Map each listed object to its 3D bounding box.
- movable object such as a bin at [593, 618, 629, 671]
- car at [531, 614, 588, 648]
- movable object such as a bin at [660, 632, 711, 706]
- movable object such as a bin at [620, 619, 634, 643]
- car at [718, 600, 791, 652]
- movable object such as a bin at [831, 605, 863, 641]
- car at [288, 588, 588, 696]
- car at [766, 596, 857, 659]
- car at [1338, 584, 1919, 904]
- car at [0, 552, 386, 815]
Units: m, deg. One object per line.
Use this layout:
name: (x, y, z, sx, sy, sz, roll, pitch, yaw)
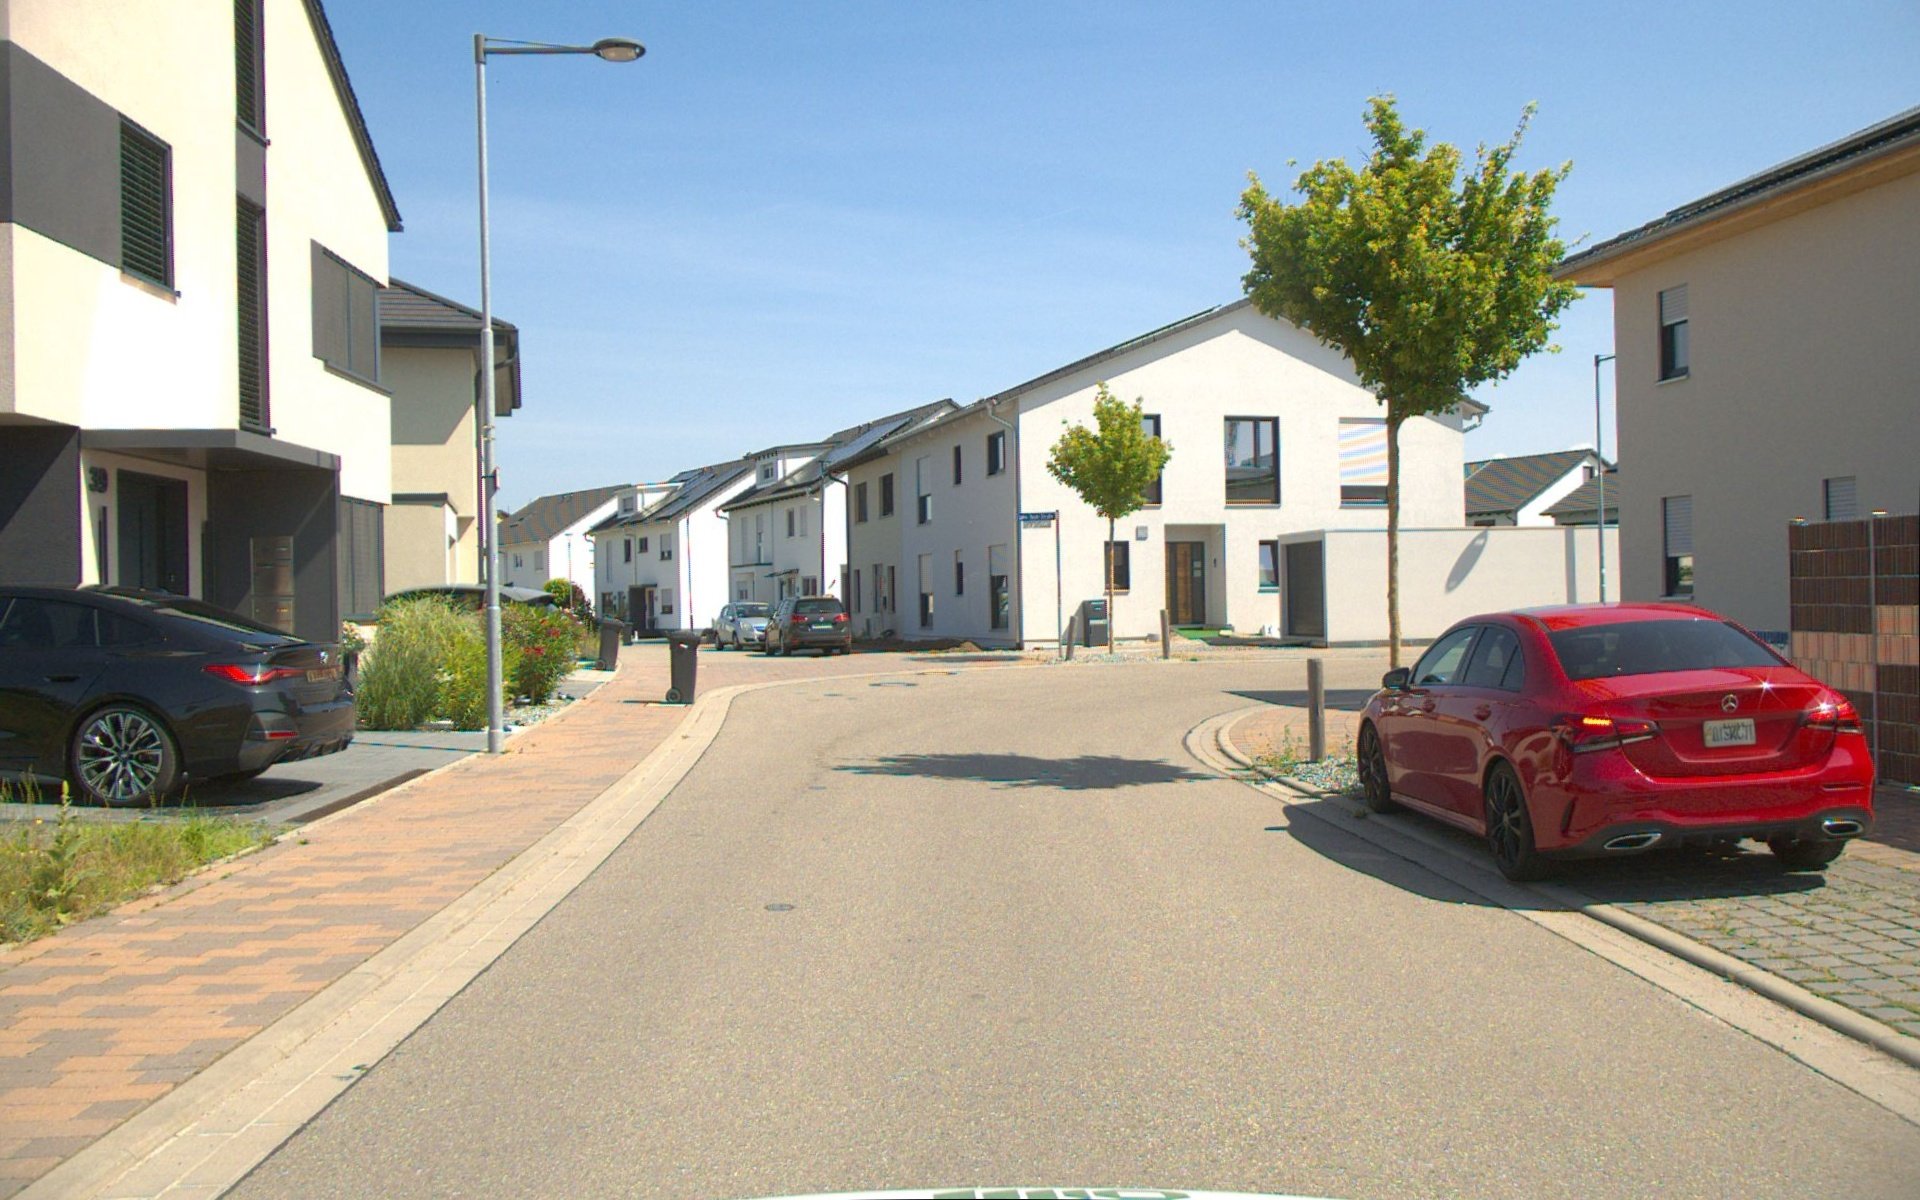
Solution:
movable object such as a bin: (-6.403, 0.817, 30.348, 0.604, 0.943, 0.422, 2, -1, -13)
car: (-20.289, 1.578, 83.638, 1.761, 1.624, 3.960, -2, 0, -30)
movable object such as a bin: (-3.633, 0.905, 21.894, 0.523, 0.952, 0.526, 1, 0, 7)
movable object such as a bin: (-14.146, 1.316, 70.188, 0.549, 0.965, 0.245, -1, 0, -21)
car: (-6.400, 0.783, 51.246, 1.650, 1.489, 3.927, -2, 0, -16)
movable object such as a bin: (-3.543, 0.711, 51.840, 0.772, 1.068, 0.800, -3, 1, -18)
car: (-7.725, 0.604, 24.723, 3.905, 1.512, 1.754, -1, 0, 0)
car: (-3.780, 0.671, 41.634, 1.697, 1.447, 3.986, -2, 0, -13)
car: (3.745, 0.692, 10.223, 1.726, 1.463, 4.519, -2, 0, 0)
car: (-6.483, 0.516, 11.549, 4.287, 1.660, 1.770, 1, 0, -2)
